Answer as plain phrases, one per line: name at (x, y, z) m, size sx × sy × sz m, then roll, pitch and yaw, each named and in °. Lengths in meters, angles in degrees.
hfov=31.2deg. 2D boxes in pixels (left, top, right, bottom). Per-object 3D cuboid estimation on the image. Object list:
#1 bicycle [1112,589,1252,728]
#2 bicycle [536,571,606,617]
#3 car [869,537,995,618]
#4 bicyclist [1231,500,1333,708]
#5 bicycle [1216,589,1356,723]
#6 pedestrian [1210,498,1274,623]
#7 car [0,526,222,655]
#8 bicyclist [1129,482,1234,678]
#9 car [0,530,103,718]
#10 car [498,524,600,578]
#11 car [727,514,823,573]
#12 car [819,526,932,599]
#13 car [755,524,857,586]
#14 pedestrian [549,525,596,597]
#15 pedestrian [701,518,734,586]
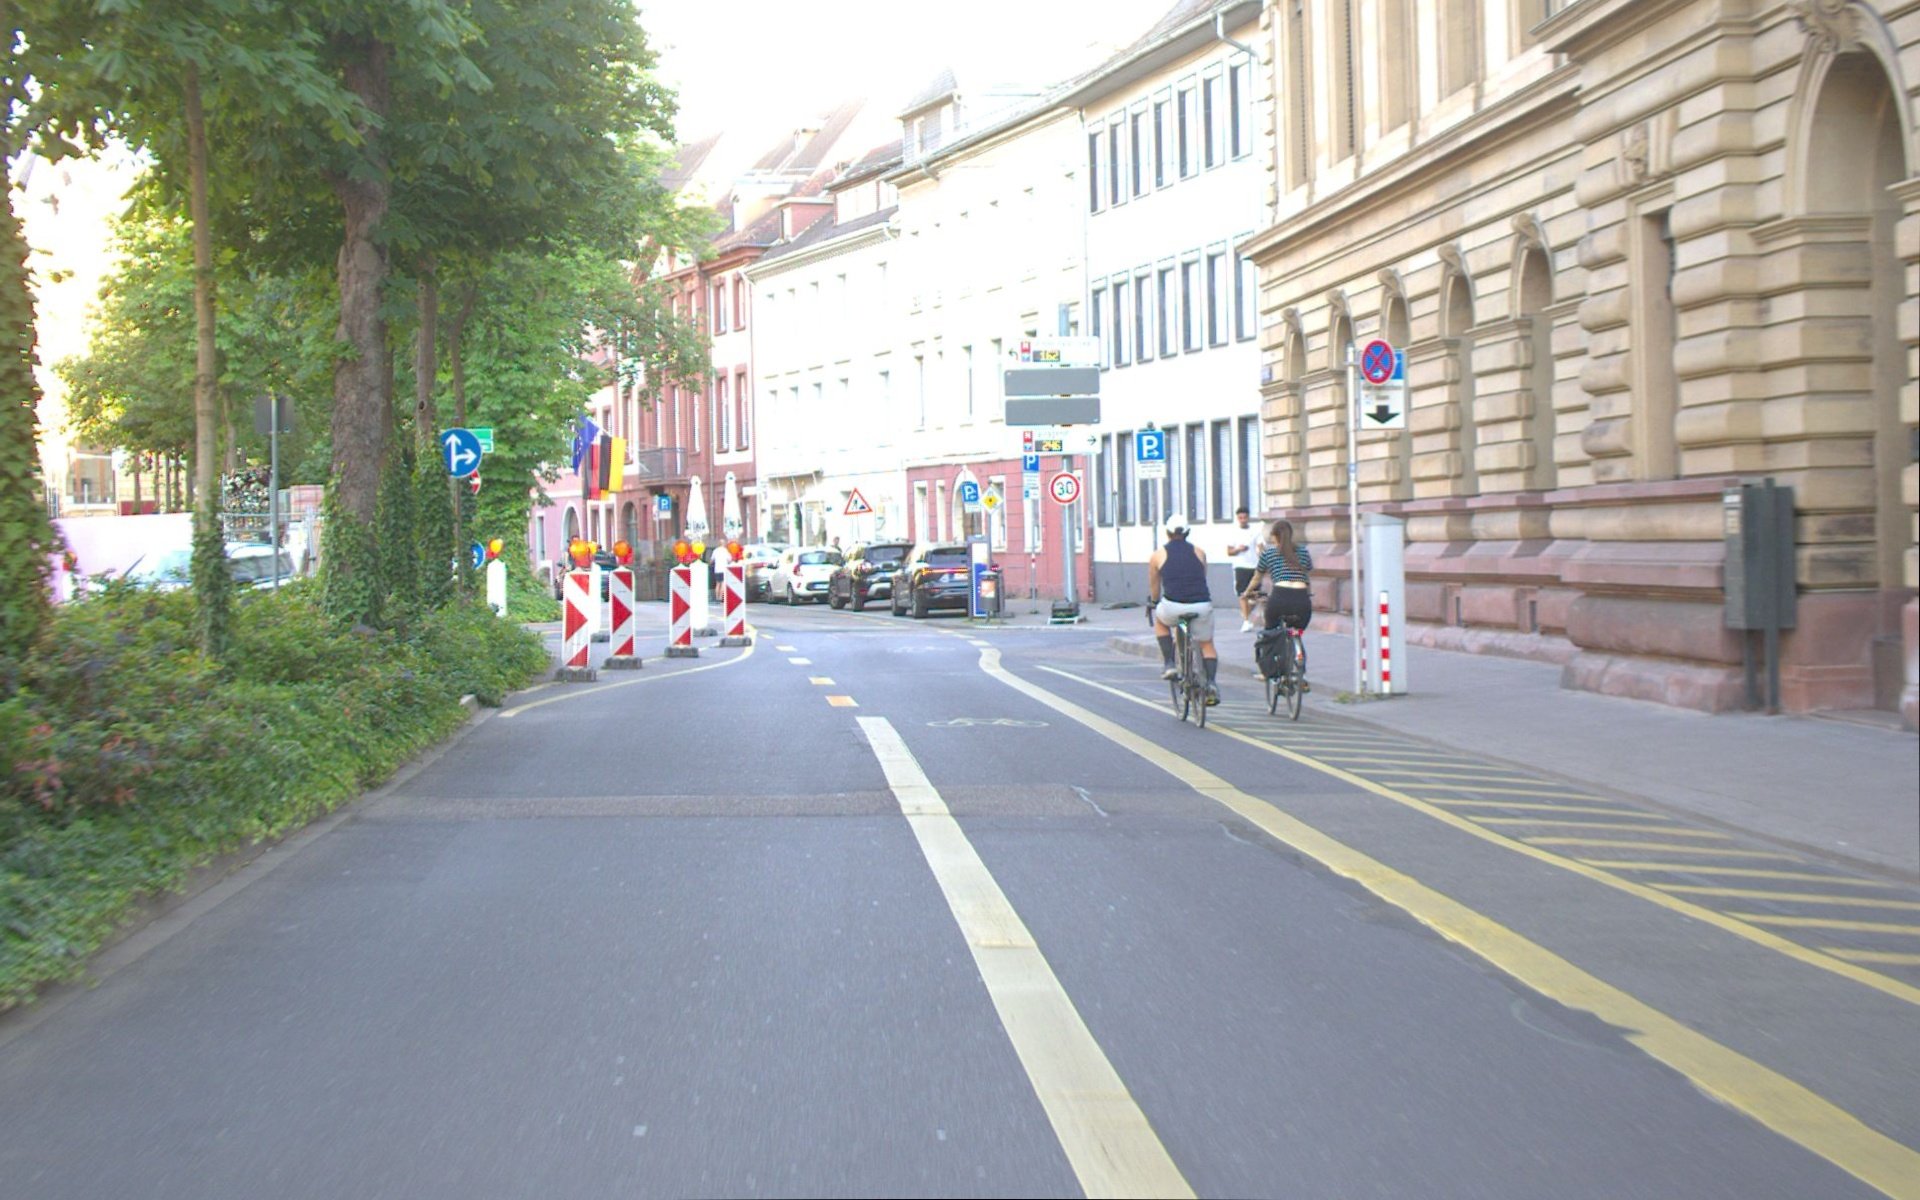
bicycle at (1.786, 0.456, 27.947) m, size 0.669 × 1.067 × 1.902 m, roll 0°, pitch 1°, yaw -11°
bicycle at (-9.132, -0.152, 80.756) m, size 0.761 × 1.034 × 2.118 m, roll 0°, pitch 1°, yaw 20°
car at (-0.626, -0.501, 73.880) m, size 1.812 × 1.676 × 3.920 m, roll -1°, pitch 1°, yaw -14°
bicyclist at (2.755, 0.025, 29.450) m, size 0.649 × 1.754 × 0.864 m, roll 1°, pitch 1°, yaw -8°
bicycle at (2.761, 0.458, 29.386) m, size 0.652 × 1.067 × 2.258 m, roll 1°, pitch 1°, yaw -8°
pedestrian at (3.995, -0.567, 48.747) m, size 0.817 × 1.759 × 1.038 m, roll 0°, pitch 1°, yaw 1°
car at (-11.155, -0.169, 45.342) m, size 1.842 × 1.546 × 4.175 m, roll -2°, pitch 1°, yaw 0°
bicyclist at (1.793, -0.160, 27.928) m, size 0.668 × 1.560 × 0.699 m, roll 1°, pitch 1°, yaw -10°
car at (-9.502, 0.235, 31.796) m, size 1.842 × 1.668 × 4.556 m, roll -2°, pitch 1°, yaw 2°
car at (-12.194, -1.446, 101.811) m, size 1.812 × 1.554 × 3.865 m, roll -1°, pitch 1°, yaw -26°
car at (-5.105, -1.542, 94.304) m, size 1.812 × 1.554 × 3.866 m, roll -1°, pitch 1°, yaw -16°
car at (-2.038, -0.899, 81.773) m, size 1.812 × 1.678 × 4.001 m, roll -1°, pitch 1°, yaw -14°
car at (-4.055, -1.187, 89.895) m, size 1.812 × 1.554 × 3.866 m, roll -1°, pitch 1°, yaw -16°
pedestrian at (-9.074, -0.905, 80.489) m, size 0.736 × 1.668 × 0.894 m, roll 0°, pitch 1°, yaw 21°
pedestrian at (-6.631, -1.307, 93.970) m, size 0.831 × 1.838 × 0.958 m, roll 0°, pitch 1°, yaw 1°
